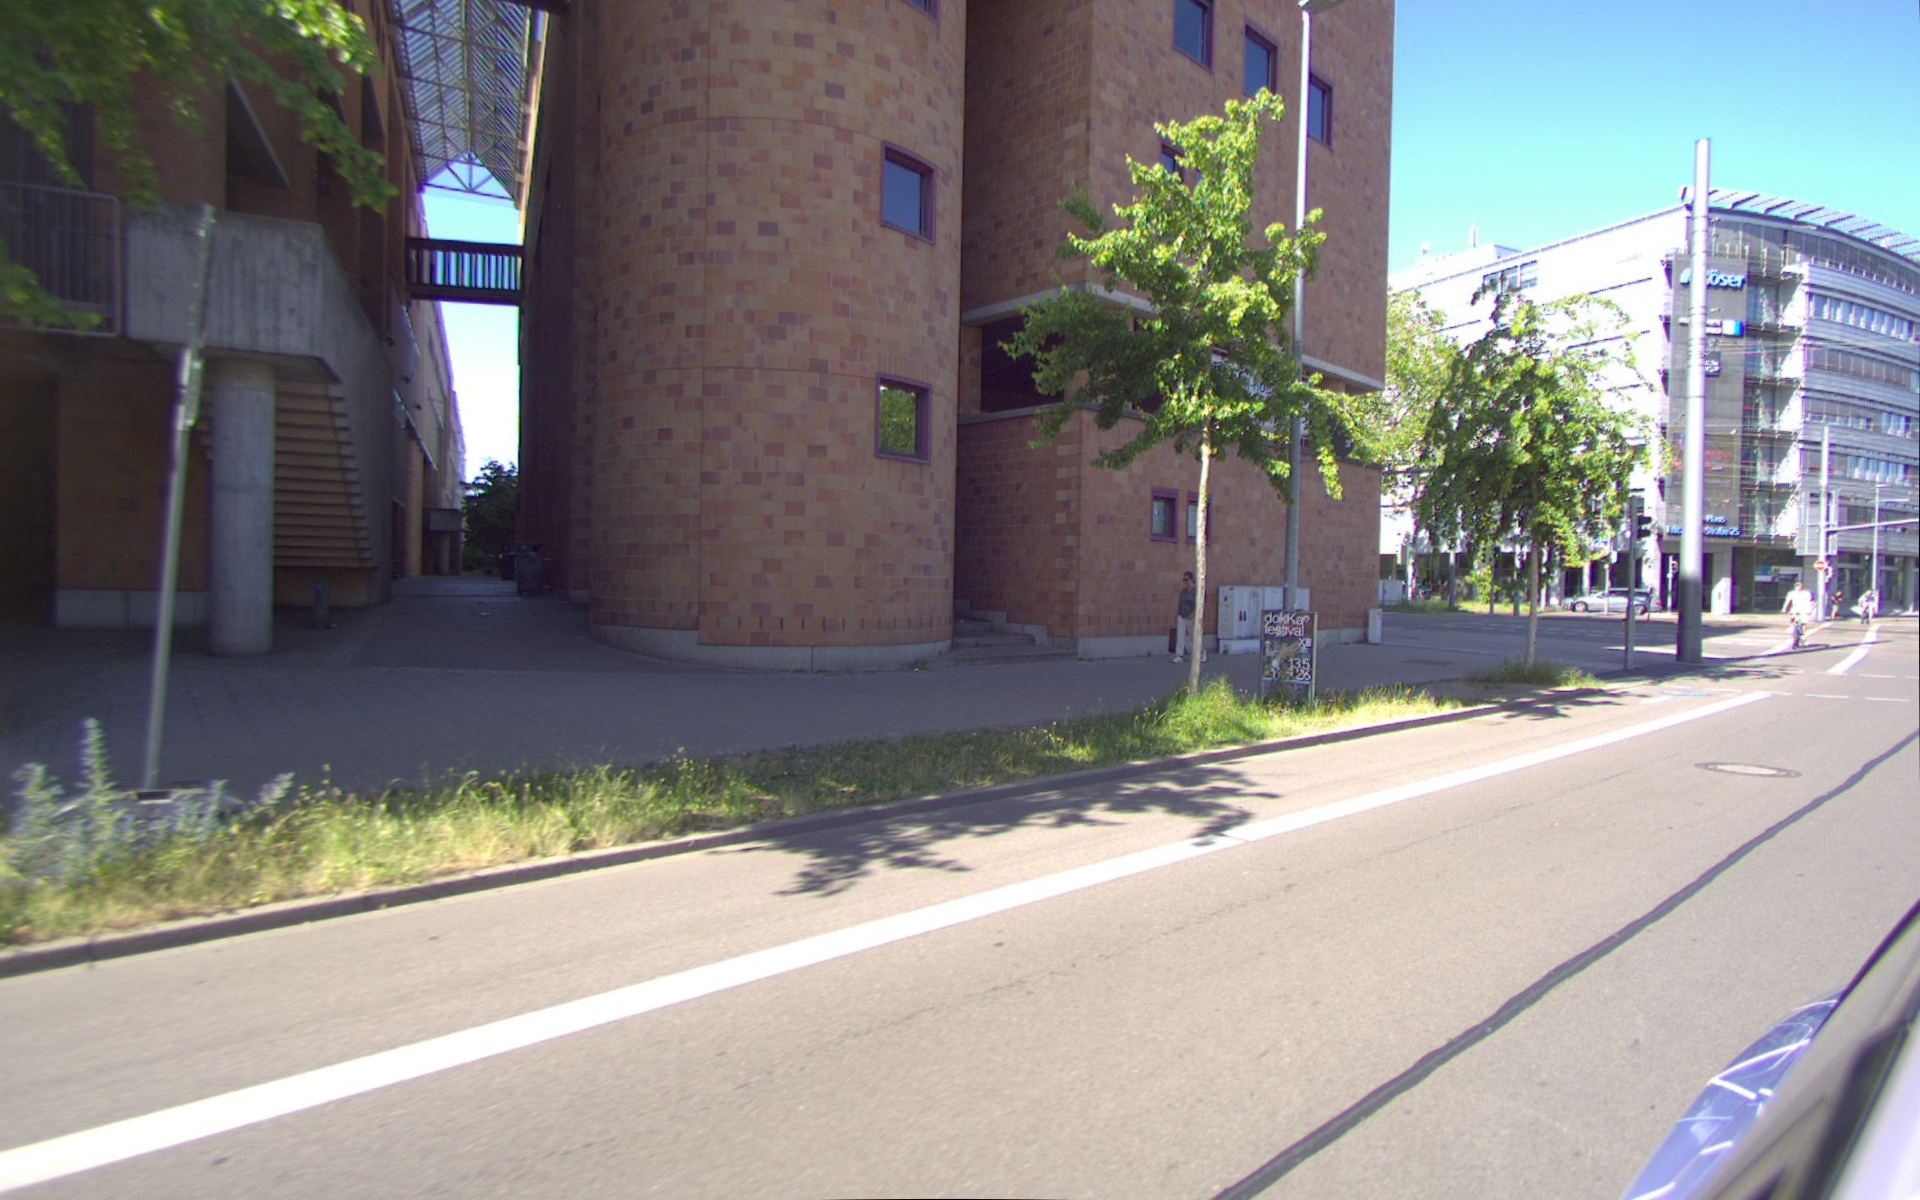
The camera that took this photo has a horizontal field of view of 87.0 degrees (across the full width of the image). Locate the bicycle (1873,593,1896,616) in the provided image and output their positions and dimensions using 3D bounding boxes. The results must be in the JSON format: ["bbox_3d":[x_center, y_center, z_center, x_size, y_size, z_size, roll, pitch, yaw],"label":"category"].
[{"bbox_3d":[46.075,0.232,50.416,1.479,1.110,0.578,0,-1,-37],"label":"bicycle"}]

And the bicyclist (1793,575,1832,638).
[{"bbox_3d":[24.387,0.181,28.949,0.893,1.750,0.684,0,-1,-39],"label":"bicyclist"}]

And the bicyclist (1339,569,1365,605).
[{"bbox_3d":[18.631,-0.626,48.101,0.934,1.690,0.674,2,2,43],"label":"bicyclist"}]

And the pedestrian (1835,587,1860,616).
[{"bbox_3d":[53.929,0.076,61.479,0.784,1.708,0.862,0,1,-27],"label":"pedestrian"}]

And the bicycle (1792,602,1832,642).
[{"bbox_3d":[24.361,0.607,28.931,1.479,1.110,0.578,0,-1,-38],"label":"bicycle"}]

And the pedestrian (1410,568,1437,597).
[{"bbox_3d":[33.488,-1.250,73.135,1.437,2.038,1.184,0,2,-32],"label":"pedestrian"}]

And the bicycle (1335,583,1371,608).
[{"bbox_3d":[18.663,-0.209,48.073,1.538,1.161,0.474,1,1,44],"label":"bicycle"}]

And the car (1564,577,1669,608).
[{"bbox_3d":[37.407,-0.454,57.844,4.805,1.577,1.918,2,2,27],"label":"car"}]

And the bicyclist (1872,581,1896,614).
[{"bbox_3d":[46.022,-0.133,50.421,0.747,1.637,0.755,0,-1,-36],"label":"bicyclist"}]

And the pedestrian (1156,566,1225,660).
[{"bbox_3d":[4.183,0.221,18.396,0.960,1.639,0.789,0,2,-42],"label":"pedestrian"}]
